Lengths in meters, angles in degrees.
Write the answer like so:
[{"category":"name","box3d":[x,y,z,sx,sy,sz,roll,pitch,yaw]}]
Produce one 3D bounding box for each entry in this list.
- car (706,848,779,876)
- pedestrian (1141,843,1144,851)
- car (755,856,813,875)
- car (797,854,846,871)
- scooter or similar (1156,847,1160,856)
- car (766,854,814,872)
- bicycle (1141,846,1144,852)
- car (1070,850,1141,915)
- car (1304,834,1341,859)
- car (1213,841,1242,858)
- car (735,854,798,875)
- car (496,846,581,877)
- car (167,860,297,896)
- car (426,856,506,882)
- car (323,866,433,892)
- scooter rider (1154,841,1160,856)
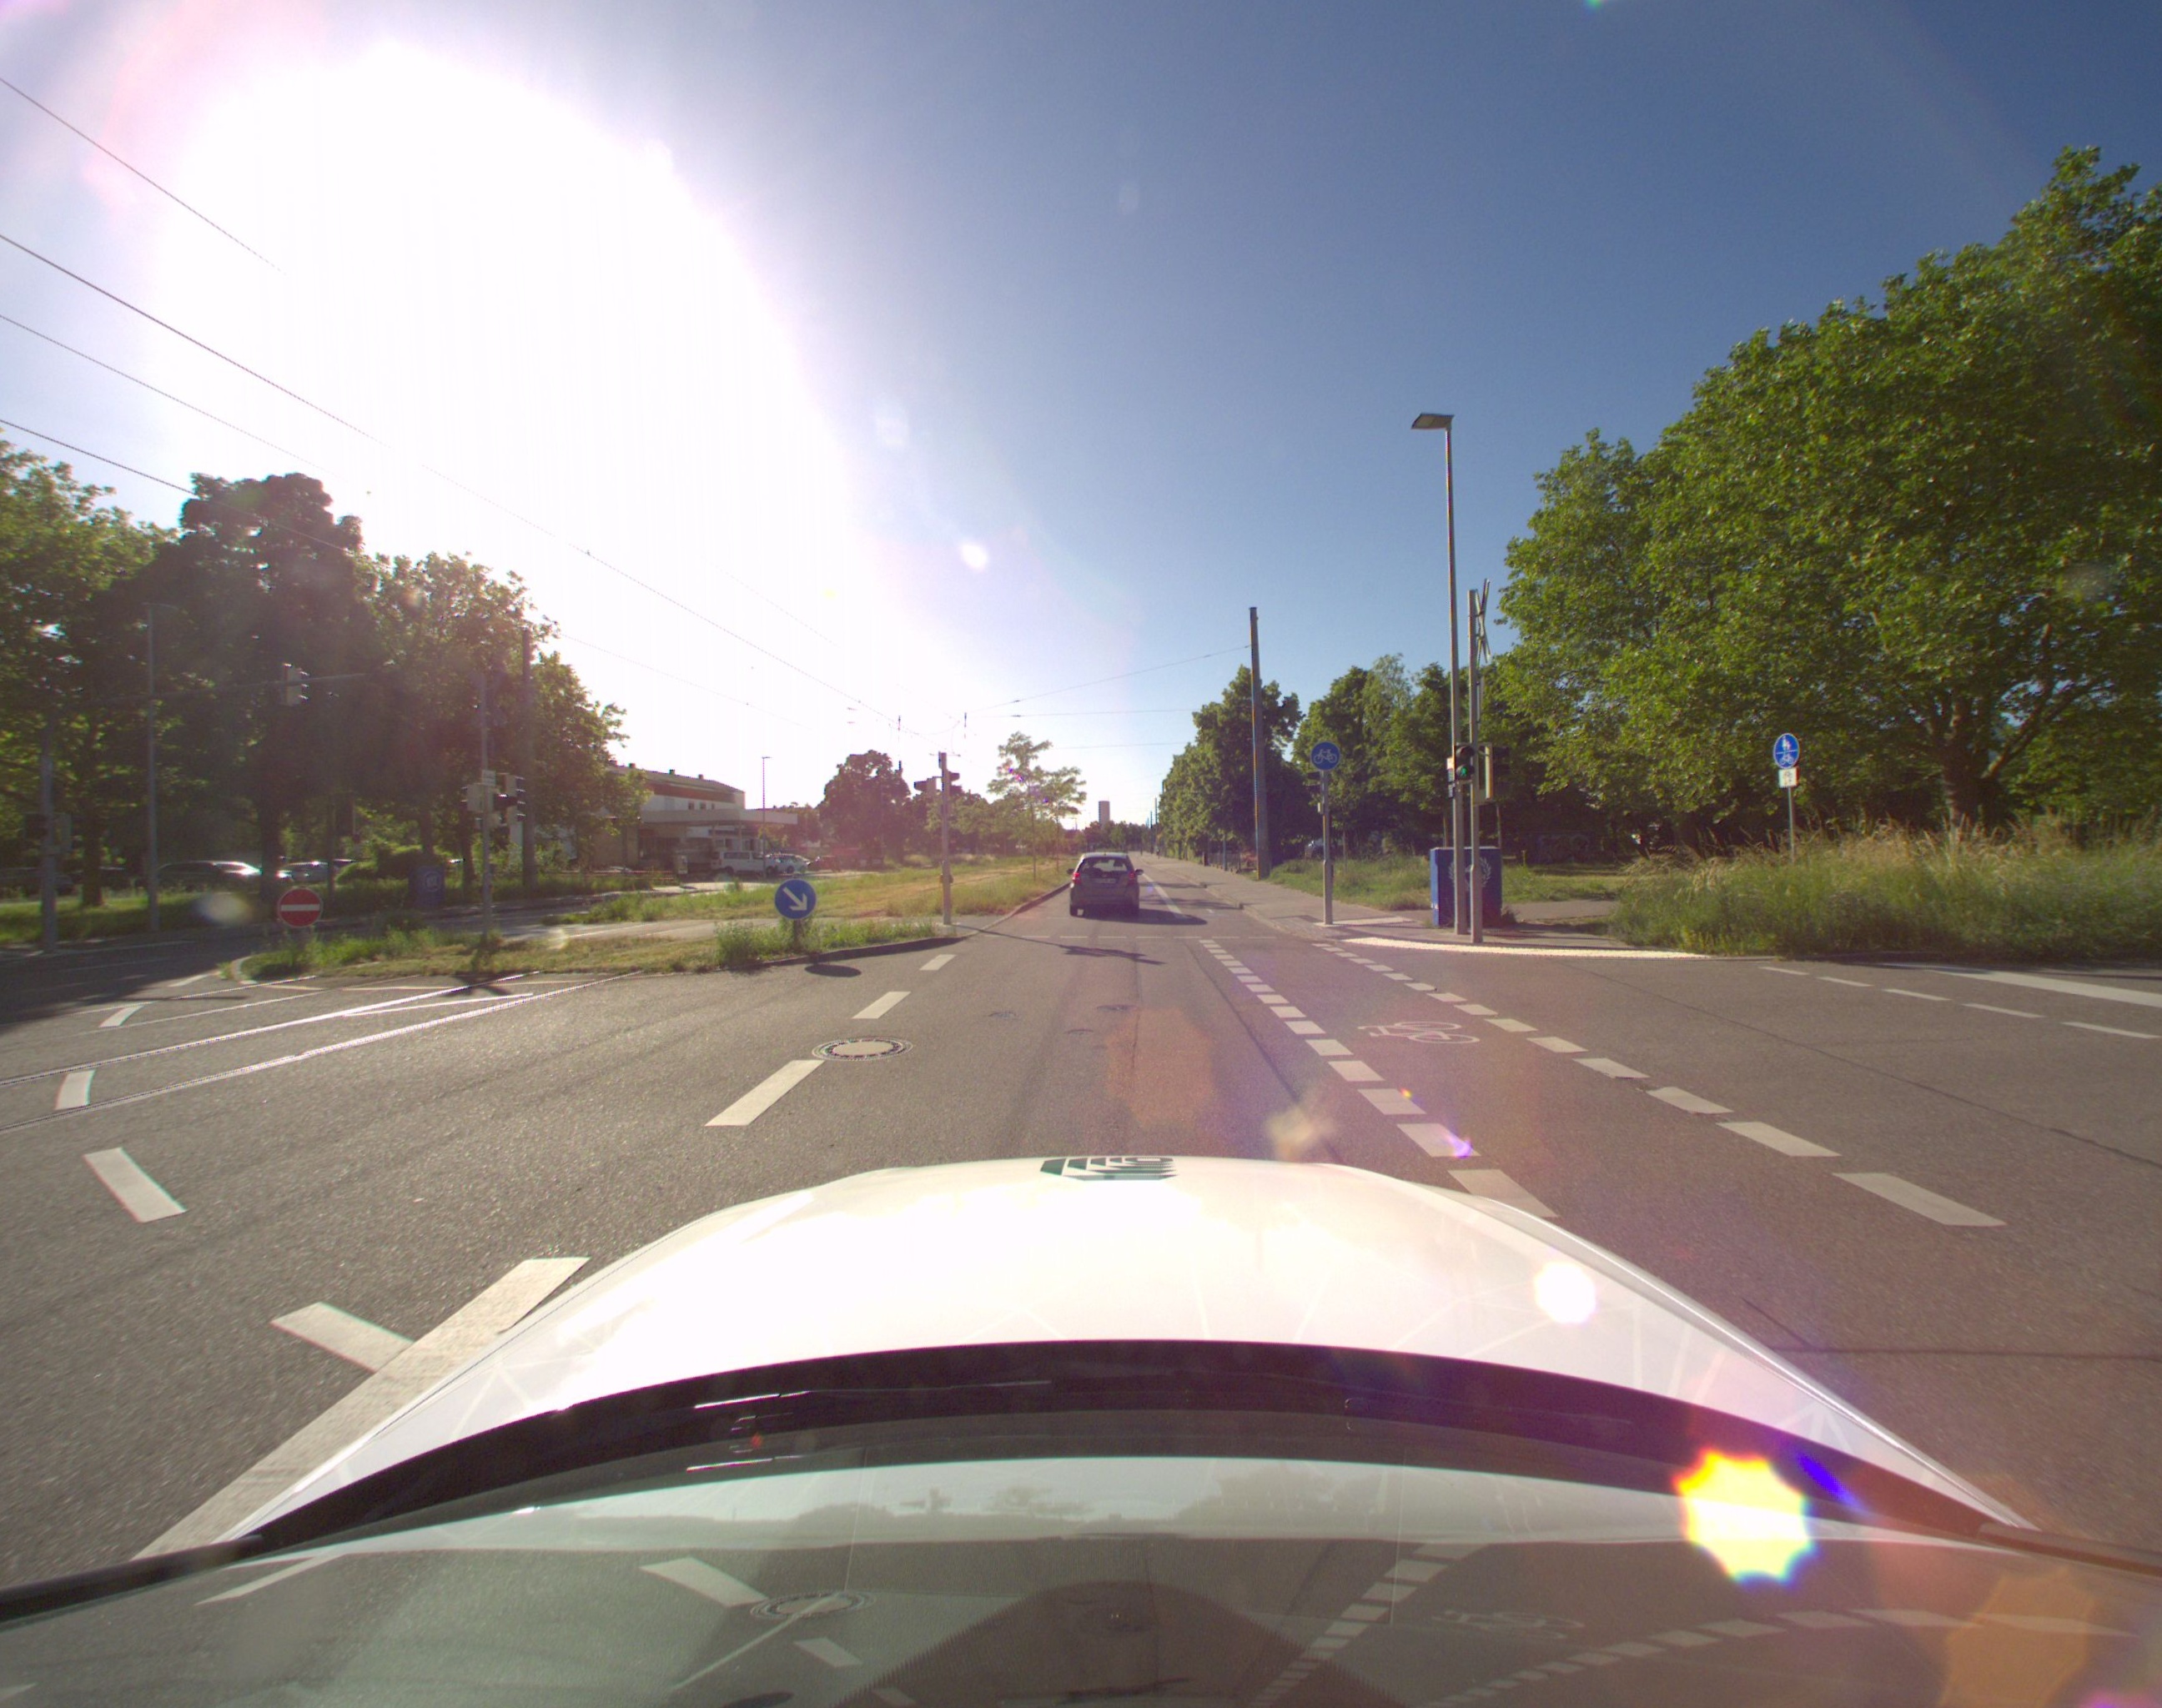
[{"category":"car","box3d":[-25.867,0.615,62.421,1.837,1.974,4.816,-1,1,41]},{"category":"pedestrian","box3d":[13.509,-1.477,179.289,0.719,1.800,1.165,-2,0,2]},{"category":"car","box3d":[-25.835,0.961,71.001,1.769,1.470,4.500,-1,1,33]},{"category":"car","box3d":[-25.144,0.807,78.947,4.056,1.568,1.792,-2,0,1]},{"category":"scooter or similar","box3d":[10.429,-0.325,110.292,0.537,1.118,1.418,-1,0,1]},{"category":"car","box3d":[-29.129,0.898,81.557,4.056,1.568,1.792,-2,0,1]},{"category":"bicycle","box3d":[13.558,-1.184,179.394,0.510,1.241,3.091,-2,0,2]},{"category":"car","box3d":[0.691,0.658,20.583,1.617,1.499,3.461,-1,0,4]},{"category":"car","box3d":[20.456,-0.620,69.099,1.864,1.966,5.171,-1,0,3]},{"category":"car","box3d":[12.516,-0.403,69.782,1.768,1.386,3.870,-2,0,0]},{"category":"car","box3d":[-25.732,0.817,66.752,1.769,1.528,4.499,-1,1,41]},{"category":"car","box3d":[-38.702,0.519,58.173,4.703,2.091,2.022,-2,0,2]},{"category":"car","box3d":[-38.066,1.057,36.578,3.954,1.432,1.665,-2,0,-2]},{"category":"car","box3d":[-38.351,0.902,50.933,1.569,1.544,4.097,-1,0,7]},{"category":"car","box3d":[-35.139,1.241,40.766,3.953,1.167,1.665,-1,0,-1]},{"category":"scooter rider","box3d":[10.315,-0.733,110.211,0.713,1.901,0.935,-1,0,1]}]
